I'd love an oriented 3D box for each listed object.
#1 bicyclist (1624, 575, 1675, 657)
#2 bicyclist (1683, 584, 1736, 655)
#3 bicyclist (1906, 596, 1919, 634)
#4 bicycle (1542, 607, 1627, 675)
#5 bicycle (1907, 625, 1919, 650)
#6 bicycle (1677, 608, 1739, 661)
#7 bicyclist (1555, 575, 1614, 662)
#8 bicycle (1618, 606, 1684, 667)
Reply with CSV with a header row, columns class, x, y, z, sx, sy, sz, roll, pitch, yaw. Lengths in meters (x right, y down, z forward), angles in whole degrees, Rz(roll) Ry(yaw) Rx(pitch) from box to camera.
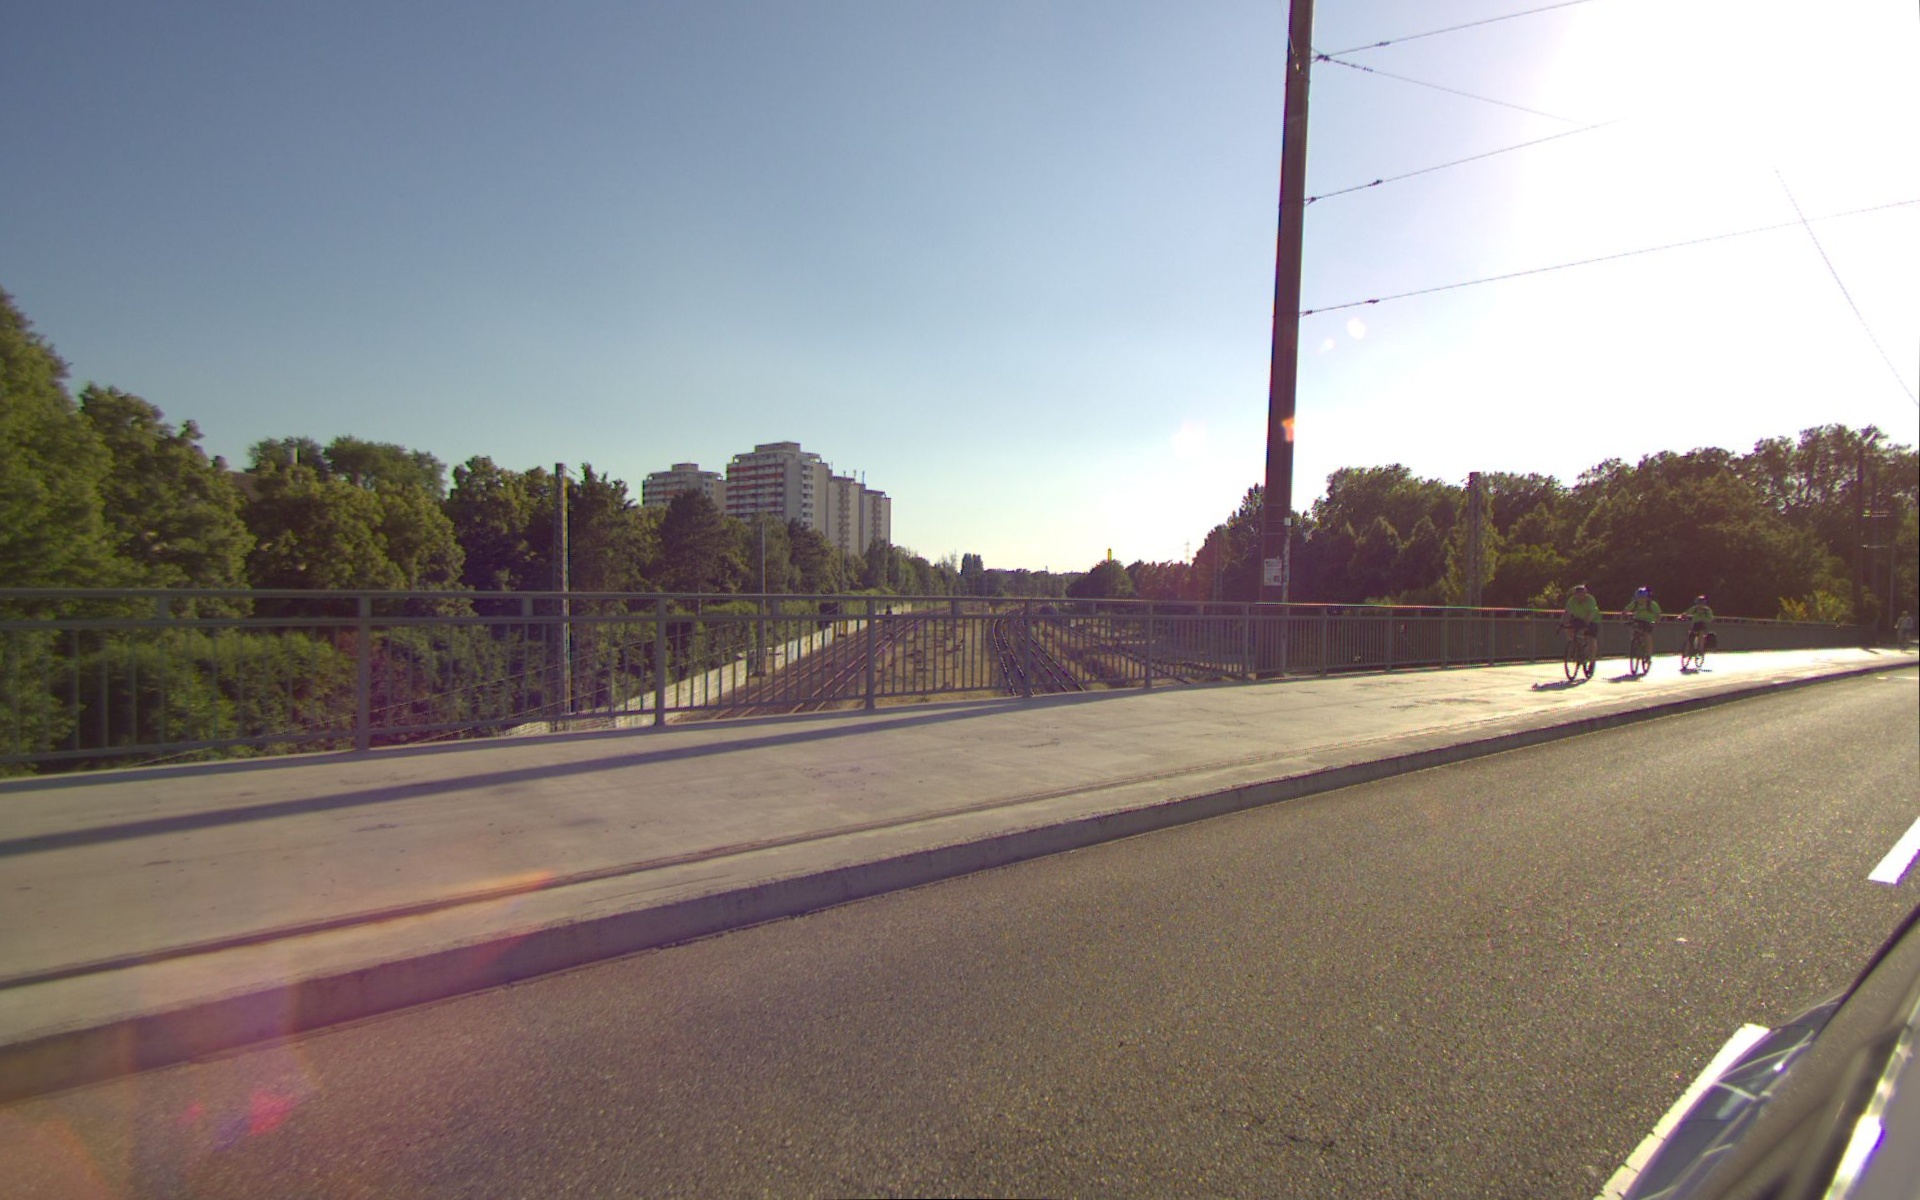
class,x,y,z,sx,sy,sz,roll,pitch,yaw
bicyclist,13.882,0.300,20.368,0.915,1.612,0.626,0,0,-41
bicyclist,17.194,0.435,23.216,0.881,1.582,0.813,2,-1,-41
bicyclist,44.734,0.697,47.248,1.182,1.711,0.731,1,-2,-44
bicycle,11.232,0.705,18.166,2.219,1.136,0.626,0,0,-40
bicycle,44.741,1.732,47.190,2.697,1.137,0.731,0,-2,-45
bicycle,17.167,0.784,23.207,2.177,1.137,0.684,2,-1,-41
bicyclist,11.200,0.319,18.149,0.988,1.527,0.626,1,0,-40
bicycle,13.916,0.711,20.352,2.006,1.136,0.626,0,1,-41
